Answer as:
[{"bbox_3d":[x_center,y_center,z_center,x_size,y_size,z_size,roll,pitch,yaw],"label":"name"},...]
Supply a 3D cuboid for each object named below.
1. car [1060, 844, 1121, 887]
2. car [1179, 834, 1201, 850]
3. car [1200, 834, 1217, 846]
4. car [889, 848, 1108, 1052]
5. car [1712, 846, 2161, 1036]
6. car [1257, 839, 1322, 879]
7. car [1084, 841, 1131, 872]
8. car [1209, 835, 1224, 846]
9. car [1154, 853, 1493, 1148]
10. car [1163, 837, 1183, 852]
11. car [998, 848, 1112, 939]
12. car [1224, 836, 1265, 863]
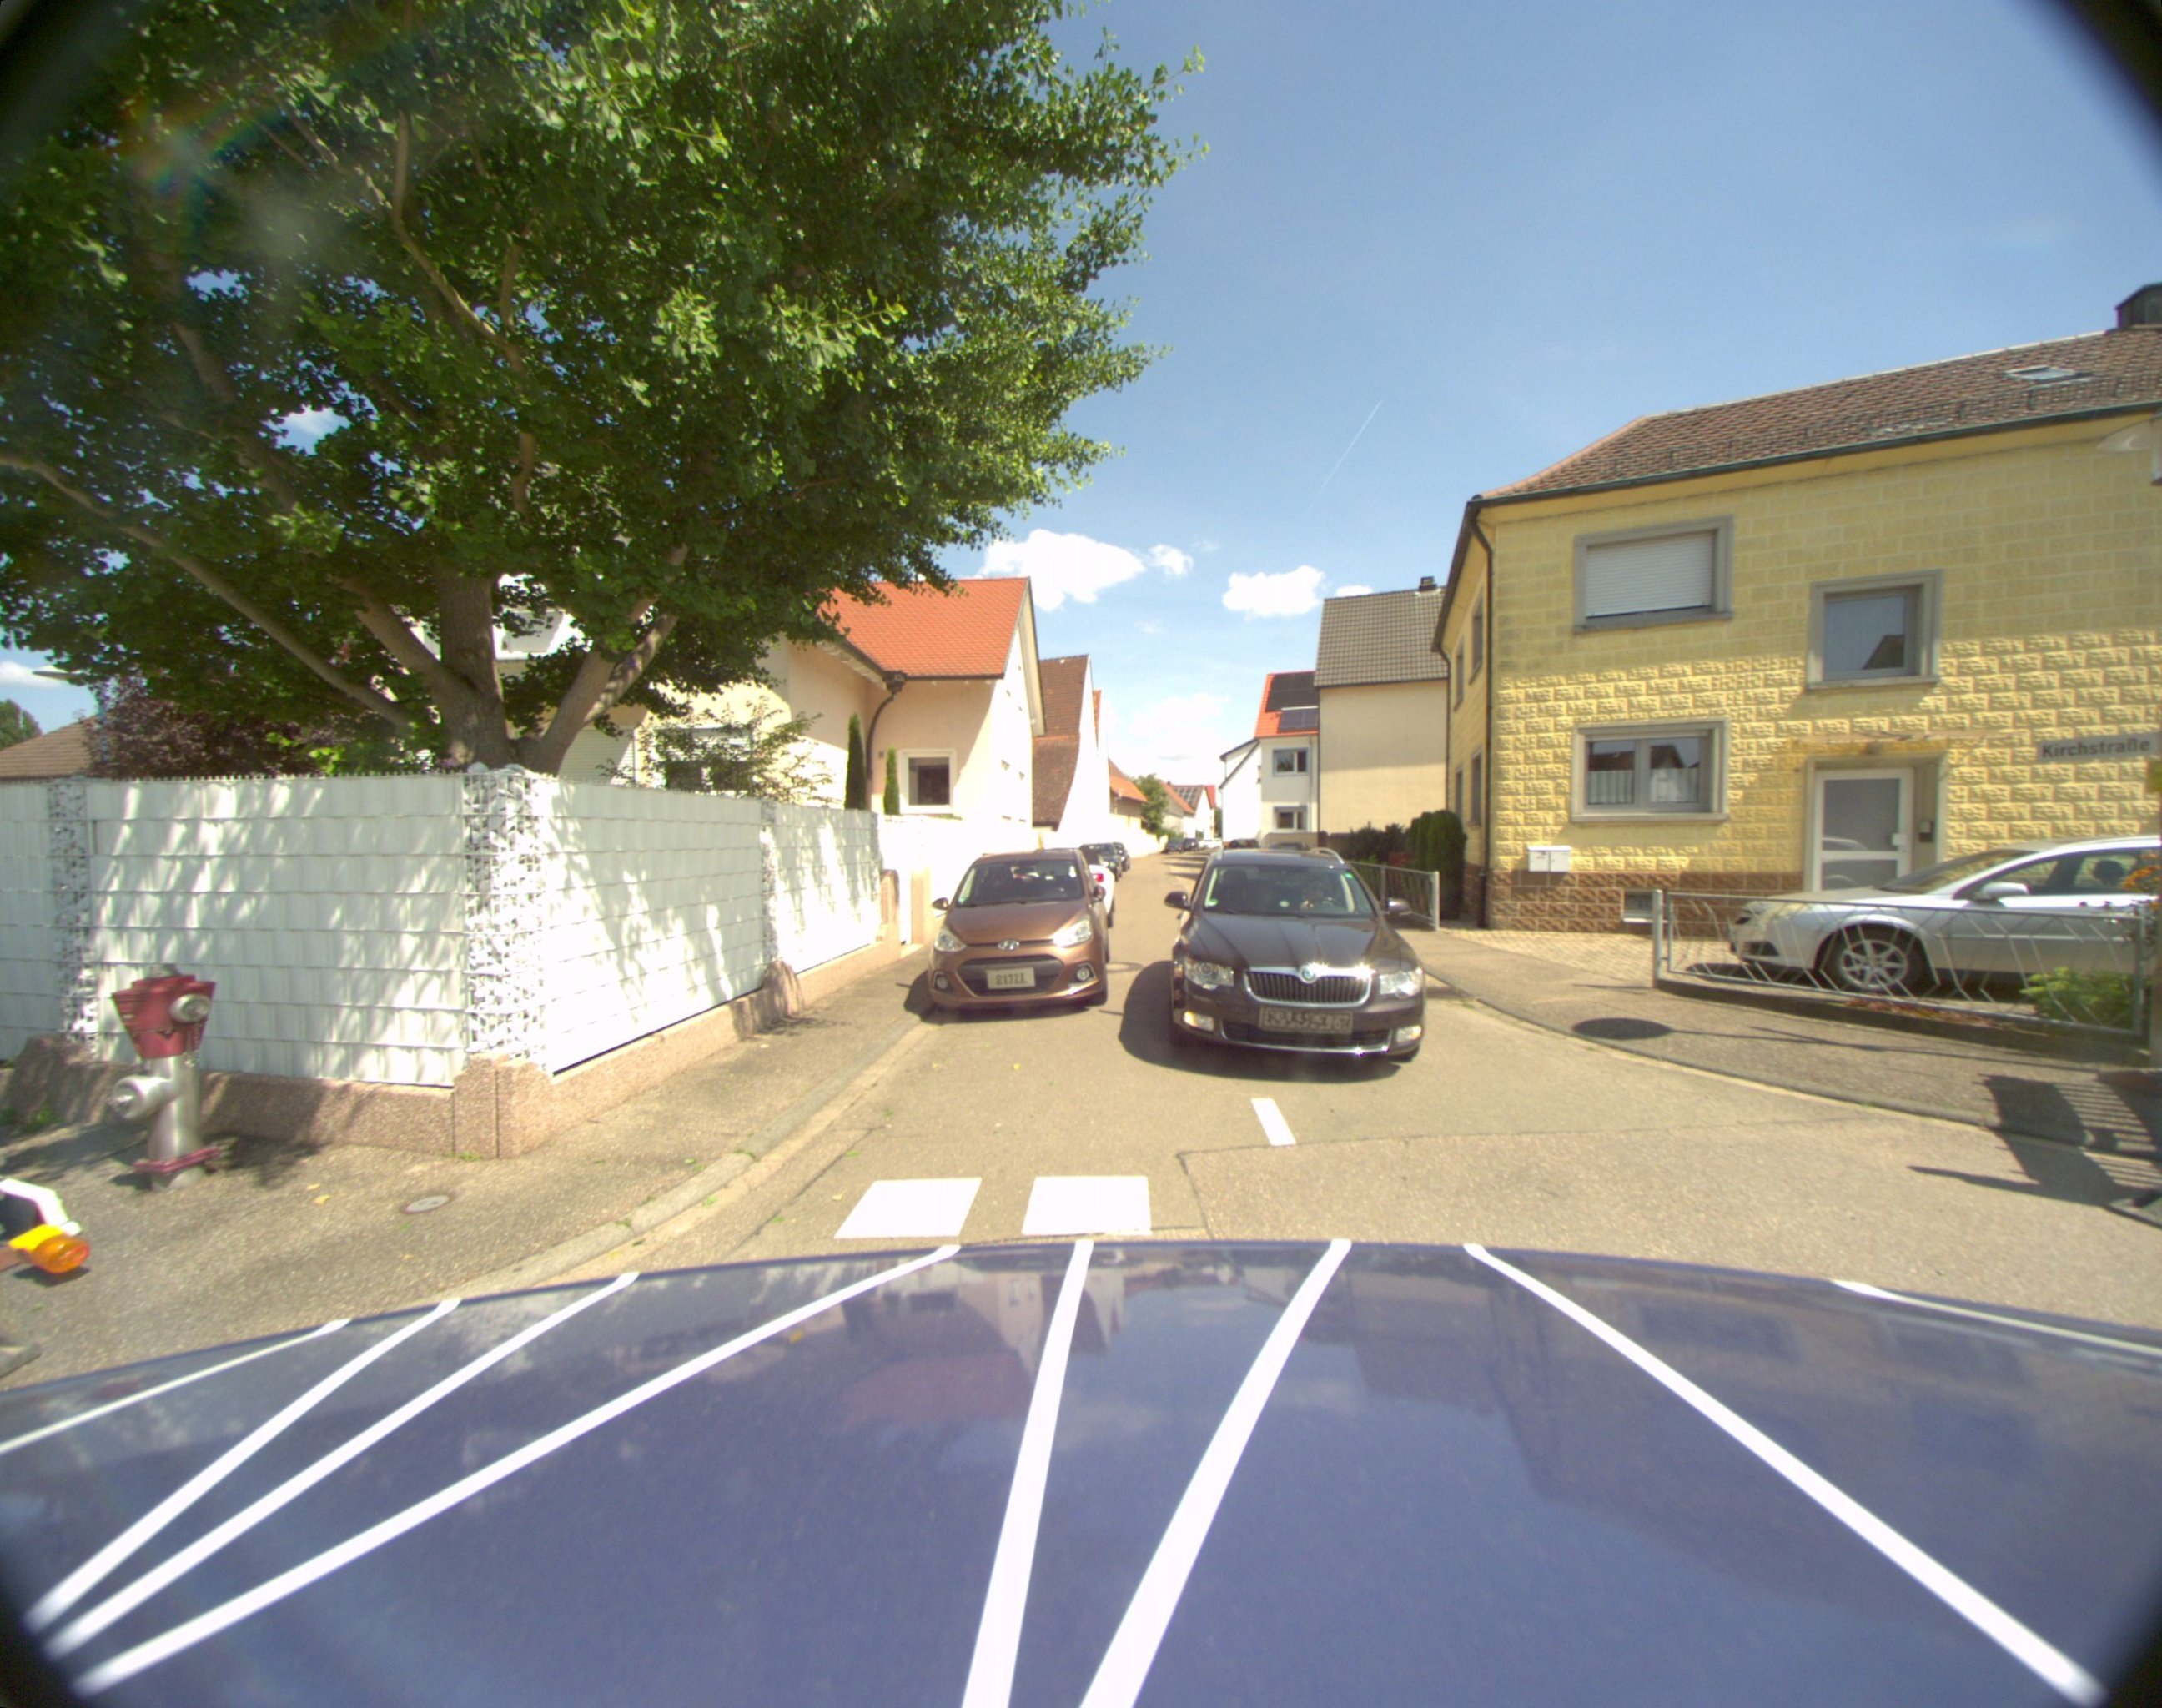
[{"bbox_3d":[0.444,0.368,28.503,1.899,1.357,4.737,-1,2,5],"label":"car"},{"bbox_3d":[11.982,-1.339,83.239,1.782,1.600,4.003,-2,1,16],"label":"car"},{"bbox_3d":[17.371,-1.892,103.025,1.782,1.492,4.042,-2,1,16],"label":"car"},{"bbox_3d":[-0.614,0.796,8.363,1.716,1.524,4.035,-4,2,2],"label":"car"},{"bbox_3d":[8.816,0.687,6.965,4.460,1.477,1.795,1,2,33],"label":"car"},{"bbox_3d":[8.366,0.147,30.206,1.771,1.342,4.475,-1,2,24],"label":"car"},{"bbox_3d":[1.360,0.076,37.323,1.899,1.357,4.415,0,2,7],"label":"car"},{"bbox_3d":[20.580,-2.073,115.231,1.782,1.492,4.042,-2,1,16],"label":"car"},{"bbox_3d":[1.587,0.804,6.611,1.784,1.527,4.711,3,1,6],"label":"car"},{"bbox_3d":[9.010,-0.963,74.489,1.783,1.471,4.002,0,2,9],"label":"car"},{"bbox_3d":[-0.339,0.648,15.221,1.900,1.421,4.736,-1,2,2],"label":"car"},{"bbox_3d":[9.479,-0.283,43.998,1.639,1.447,3.792,-1,1,22],"label":"car"}]
